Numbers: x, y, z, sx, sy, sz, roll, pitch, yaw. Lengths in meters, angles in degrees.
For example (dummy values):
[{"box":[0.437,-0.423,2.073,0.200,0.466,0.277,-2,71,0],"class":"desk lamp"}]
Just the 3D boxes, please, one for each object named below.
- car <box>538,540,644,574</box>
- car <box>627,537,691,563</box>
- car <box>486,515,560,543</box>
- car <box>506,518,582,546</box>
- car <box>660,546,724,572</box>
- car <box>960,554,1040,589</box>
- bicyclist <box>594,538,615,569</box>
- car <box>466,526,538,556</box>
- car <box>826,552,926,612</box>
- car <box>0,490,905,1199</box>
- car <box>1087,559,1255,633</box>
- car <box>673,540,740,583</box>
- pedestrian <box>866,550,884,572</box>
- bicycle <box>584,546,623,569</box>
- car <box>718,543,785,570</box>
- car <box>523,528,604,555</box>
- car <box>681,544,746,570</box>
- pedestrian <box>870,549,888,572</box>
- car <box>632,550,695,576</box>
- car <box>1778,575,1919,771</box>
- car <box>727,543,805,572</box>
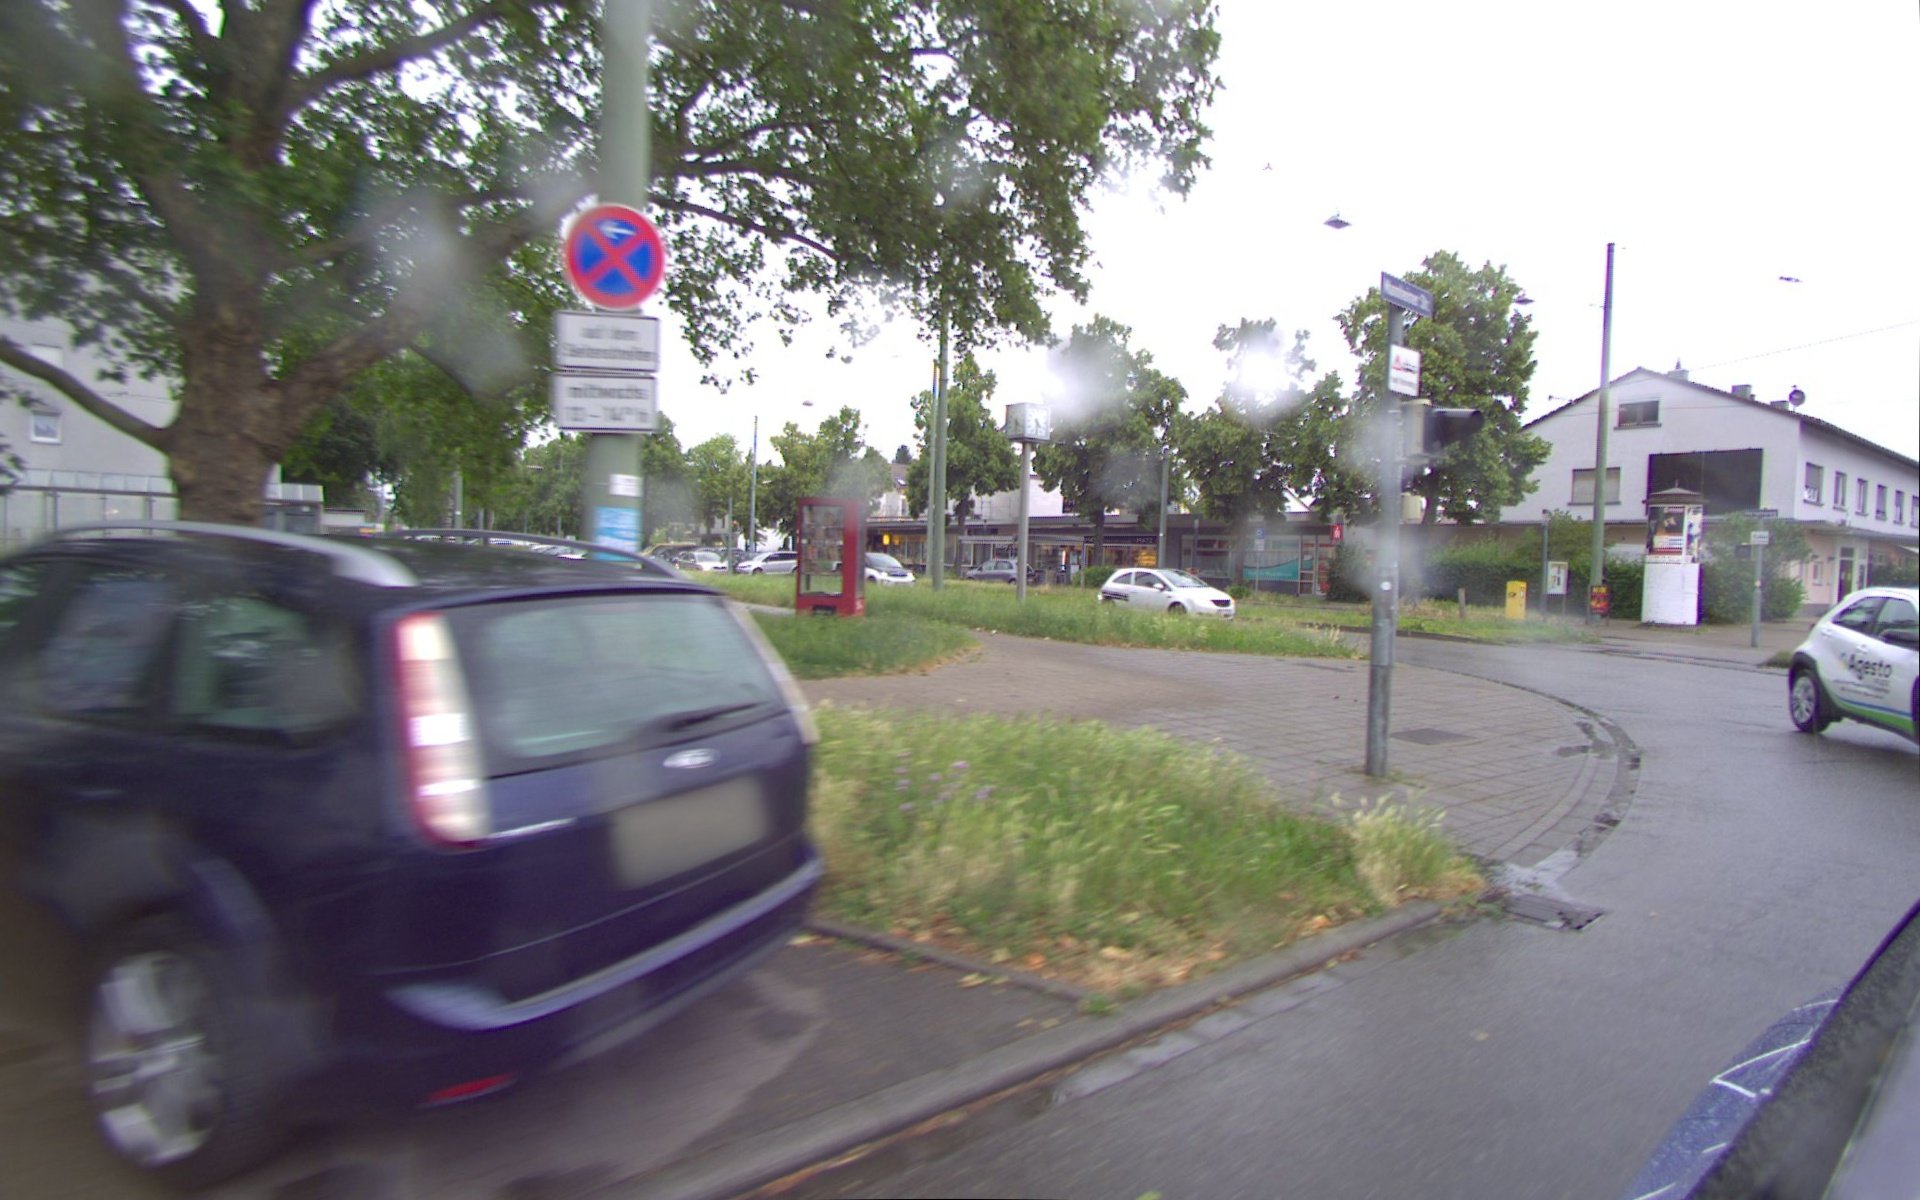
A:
[{"box":[-19.120,-2.198,52.484,4.749,1.476,2.001,2,1,-35],"class":"car"},{"box":[-23.630,-3.955,79.627,4.466,1.966,1.898,-2,3,-37],"class":"car"},{"box":[-29.431,-4.775,68.207,4.362,1.868,1.724,-2,4,-35],"class":"car"},{"box":[-24.905,-4.050,60.624,3.925,1.604,1.724,-2,4,-35],"class":"car"},{"box":[-18.985,-2.946,71.743,4.017,1.729,1.898,-3,4,-37],"class":"car"},{"box":[1.865,-1.387,47.784,3.603,1.521,1.532,3,4,37],"class":"car"},{"box":[-17.674,-2.300,50.341,0.720,1.535,0.690,2,2,36],"class":"bicyclist"},{"box":[-32.708,-4.208,72.268,4.367,2.086,1.722,-3,4,-39],"class":"car"},{"box":[-3.215,-0.739,38.254,1.963,2.037,4.000,-2,4,-37],"class":"car"},{"box":[-2.451,0.426,3.576,4.130,1.494,1.791,3,2,23],"class":"car"},{"box":[5.477,-0.169,26.706,1.927,1.571,4.001,-1,5,-37],"class":"car"},{"box":[-12.917,-1.983,51.435,1.963,2.037,4.001,-3,5,-35],"class":"car"},{"box":[-6.608,-3.040,78.495,1.058,1.603,0.950,1,3,-25],"class":"pedestrian"},{"box":[-17.707,-2.115,50.297,0.724,1.144,1.732,2,2,35],"class":"bicycle"},{"box":[-13.425,-2.818,65.151,3.875,1.694,1.793,-2,3,-37],"class":"car"},{"box":[-22.260,-3.290,56.854,3.925,1.504,1.724,-2,4,-35],"class":"car"},{"box":[-16.991,-2.966,69.805,4.016,1.730,1.898,-2,4,-37],"class":"car"},{"box":[-6.195,-3.007,77.388,1.058,1.734,0.950,1,3,-25],"class":"pedestrian"},{"box":[-22.461,-2.819,76.764,4.227,1.831,1.898,-2,3,-37],"class":"car"},{"box":[9.103,0.598,8.963,1.698,1.644,3.692,0,1,19],"class":"car"},{"box":[-11.757,-2.565,61.422,4.258,1.694,2.000,-2,4,-37],"class":"car"}]
